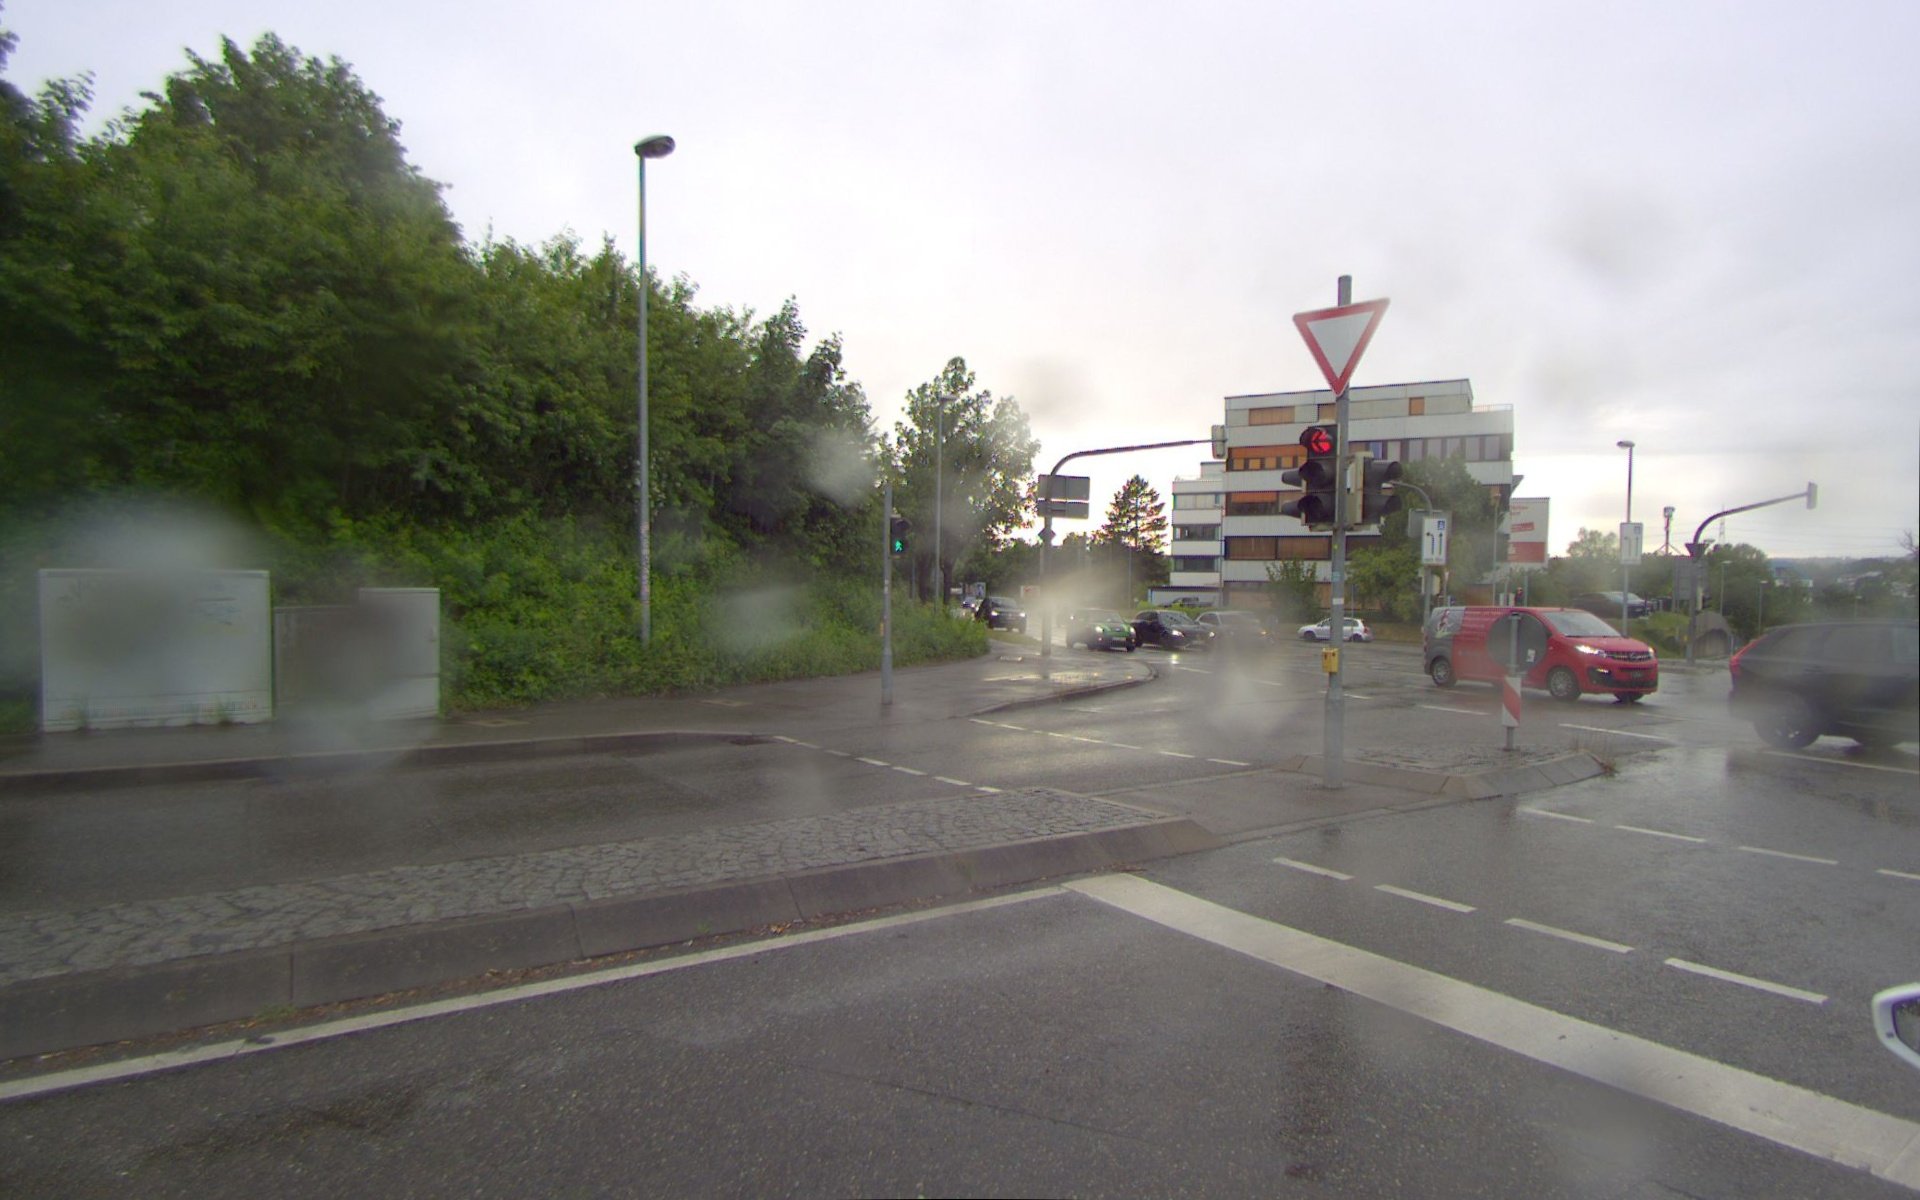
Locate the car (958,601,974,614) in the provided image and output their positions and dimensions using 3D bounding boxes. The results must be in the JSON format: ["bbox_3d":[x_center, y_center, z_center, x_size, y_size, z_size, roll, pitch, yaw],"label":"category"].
[{"bbox_3d":[0.781,0.853,123.577,1.809,1.534,4.000,1,0,1],"label":"car"}]

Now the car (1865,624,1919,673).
[{"bbox_3d":[34.773,1.748,36.915,3.974,1.639,1.973,1,1,-45],"label":"car"}]

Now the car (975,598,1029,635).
[{"bbox_3d":[2.078,0.799,50.771,1.963,1.725,4.605,1,1,-7],"label":"car"}]

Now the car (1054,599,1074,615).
[{"bbox_3d":[14.039,0.972,135.172,1.960,2.041,5.014,1,1,14],"label":"car"}]

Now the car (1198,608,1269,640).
[{"bbox_3d":[15.137,1.296,55.731,1.926,1.617,3.984,1,1,-18],"label":"car"}]

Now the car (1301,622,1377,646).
[{"bbox_3d":[20.327,1.819,53.877,3.456,1.120,1.815,2,1,34],"label":"car"}]

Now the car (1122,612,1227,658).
[{"bbox_3d":[7.941,1.273,37.693,1.966,1.496,4.660,1,1,-14],"label":"car"}]

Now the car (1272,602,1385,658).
[{"bbox_3d":[13.642,1.063,37.468,1.966,1.865,4.143,1,1,-14],"label":"car"}]

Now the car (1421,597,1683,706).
[{"bbox_3d":[12.381,0.977,21.449,1.967,2.040,4.771,1,0,-16],"label":"car"}]

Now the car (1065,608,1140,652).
[{"bbox_3d":[5.066,1.035,36.054,1.651,1.405,3.454,1,1,-10],"label":"car"}]

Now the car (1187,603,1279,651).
[{"bbox_3d":[10.693,1.035,39.684,1.964,1.706,3.992,1,1,-10],"label":"car"}]

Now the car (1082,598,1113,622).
[{"bbox_3d":[11.568,0.832,84.610,1.961,1.873,3.999,1,1,-1],"label":"car"}]

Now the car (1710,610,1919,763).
[{"bbox_3d":[11.687,0.989,11.630,2.000,1.701,4.619,1,-1,-14],"label":"car"}]
